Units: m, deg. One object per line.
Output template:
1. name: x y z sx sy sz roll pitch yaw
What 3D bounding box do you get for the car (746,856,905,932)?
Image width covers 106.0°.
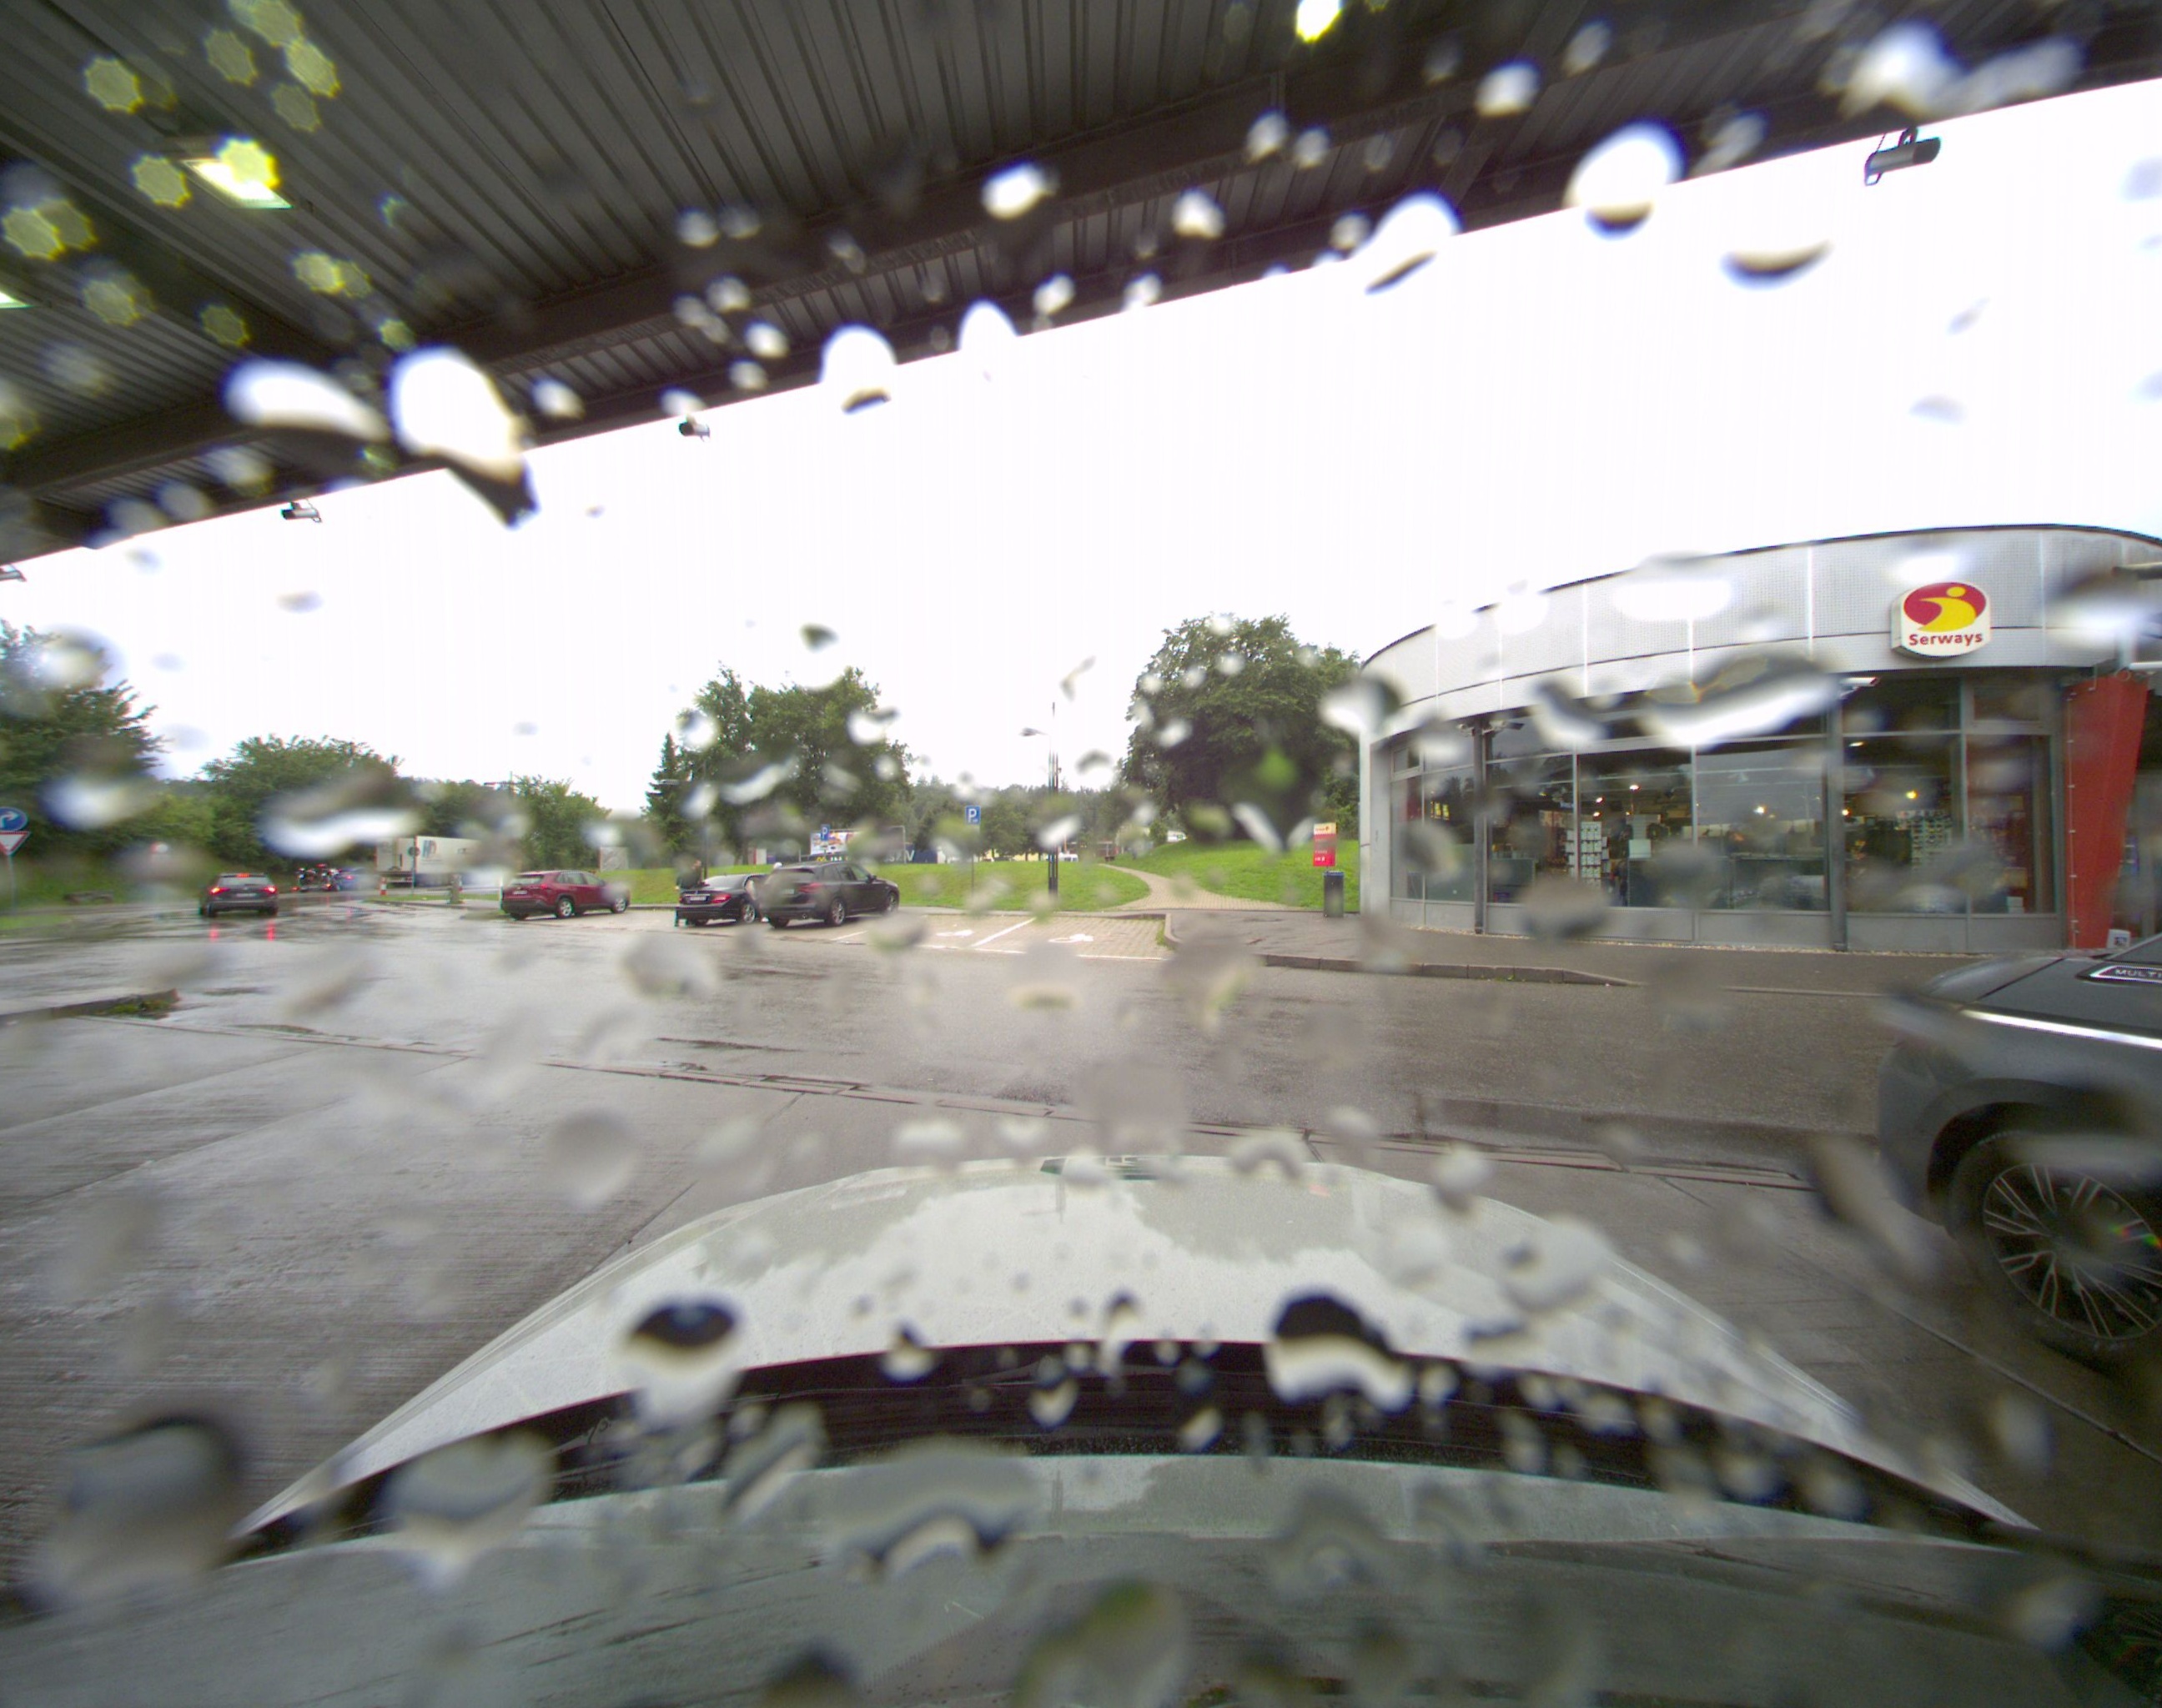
1. car: -6.649 0.971 21.785 2.002 1.711 4.360 -2 0 14

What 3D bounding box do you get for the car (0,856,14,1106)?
1. car: -7.968 0.803 2.681 1.854 1.608 5.273 0 -1 2

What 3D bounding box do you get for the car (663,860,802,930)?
1. car: -9.835 1.082 23.429 2.010 1.711 4.344 -2 0 1

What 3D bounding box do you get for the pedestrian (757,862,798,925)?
1. pedestrian: -8.096 1.028 21.712 0.955 1.631 0.698 0 -1 -25

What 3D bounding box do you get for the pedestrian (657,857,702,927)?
1. pedestrian: -11.070 1.035 22.459 0.882 1.887 0.708 -1 -1 28

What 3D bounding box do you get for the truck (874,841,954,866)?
1. truck: -20.753 -0.057 102.351 2.165 2.920 13.175 -1 -1 26

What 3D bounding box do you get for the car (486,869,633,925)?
1. car: -18.137 1.442 28.597 1.928 1.644 4.352 -2 0 7

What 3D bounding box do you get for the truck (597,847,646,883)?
1. truck: -42.159 0.980 74.904 2.484 3.085 7.311 0 -1 -18

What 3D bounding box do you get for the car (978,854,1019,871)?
1. car: -9.130 0.908 89.990 4.153 1.783 1.825 0 -1 -34

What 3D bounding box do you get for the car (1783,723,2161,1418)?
1. car: 3.674 0.543 0.682 1.854 1.798 5.142 0 -1 2

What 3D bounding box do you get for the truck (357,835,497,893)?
1. truck: -55.445 0.842 69.982 3.550 4.340 16.899 0 -1 -18

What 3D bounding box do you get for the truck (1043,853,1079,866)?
1. truck: -3.248 0.873 134.110 5.356 2.014 2.381 -1 -1 26

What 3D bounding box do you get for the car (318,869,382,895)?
1. car: -50.344 1.882 56.178 1.814 1.681 3.927 0 -1 -18

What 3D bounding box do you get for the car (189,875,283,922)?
1. car: -32.671 1.680 31.477 3.948 1.678 2.013 -2 -1 37

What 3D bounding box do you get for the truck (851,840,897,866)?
1. truck: -24.185 -0.088 95.460 2.165 2.920 5.419 -1 -1 27
